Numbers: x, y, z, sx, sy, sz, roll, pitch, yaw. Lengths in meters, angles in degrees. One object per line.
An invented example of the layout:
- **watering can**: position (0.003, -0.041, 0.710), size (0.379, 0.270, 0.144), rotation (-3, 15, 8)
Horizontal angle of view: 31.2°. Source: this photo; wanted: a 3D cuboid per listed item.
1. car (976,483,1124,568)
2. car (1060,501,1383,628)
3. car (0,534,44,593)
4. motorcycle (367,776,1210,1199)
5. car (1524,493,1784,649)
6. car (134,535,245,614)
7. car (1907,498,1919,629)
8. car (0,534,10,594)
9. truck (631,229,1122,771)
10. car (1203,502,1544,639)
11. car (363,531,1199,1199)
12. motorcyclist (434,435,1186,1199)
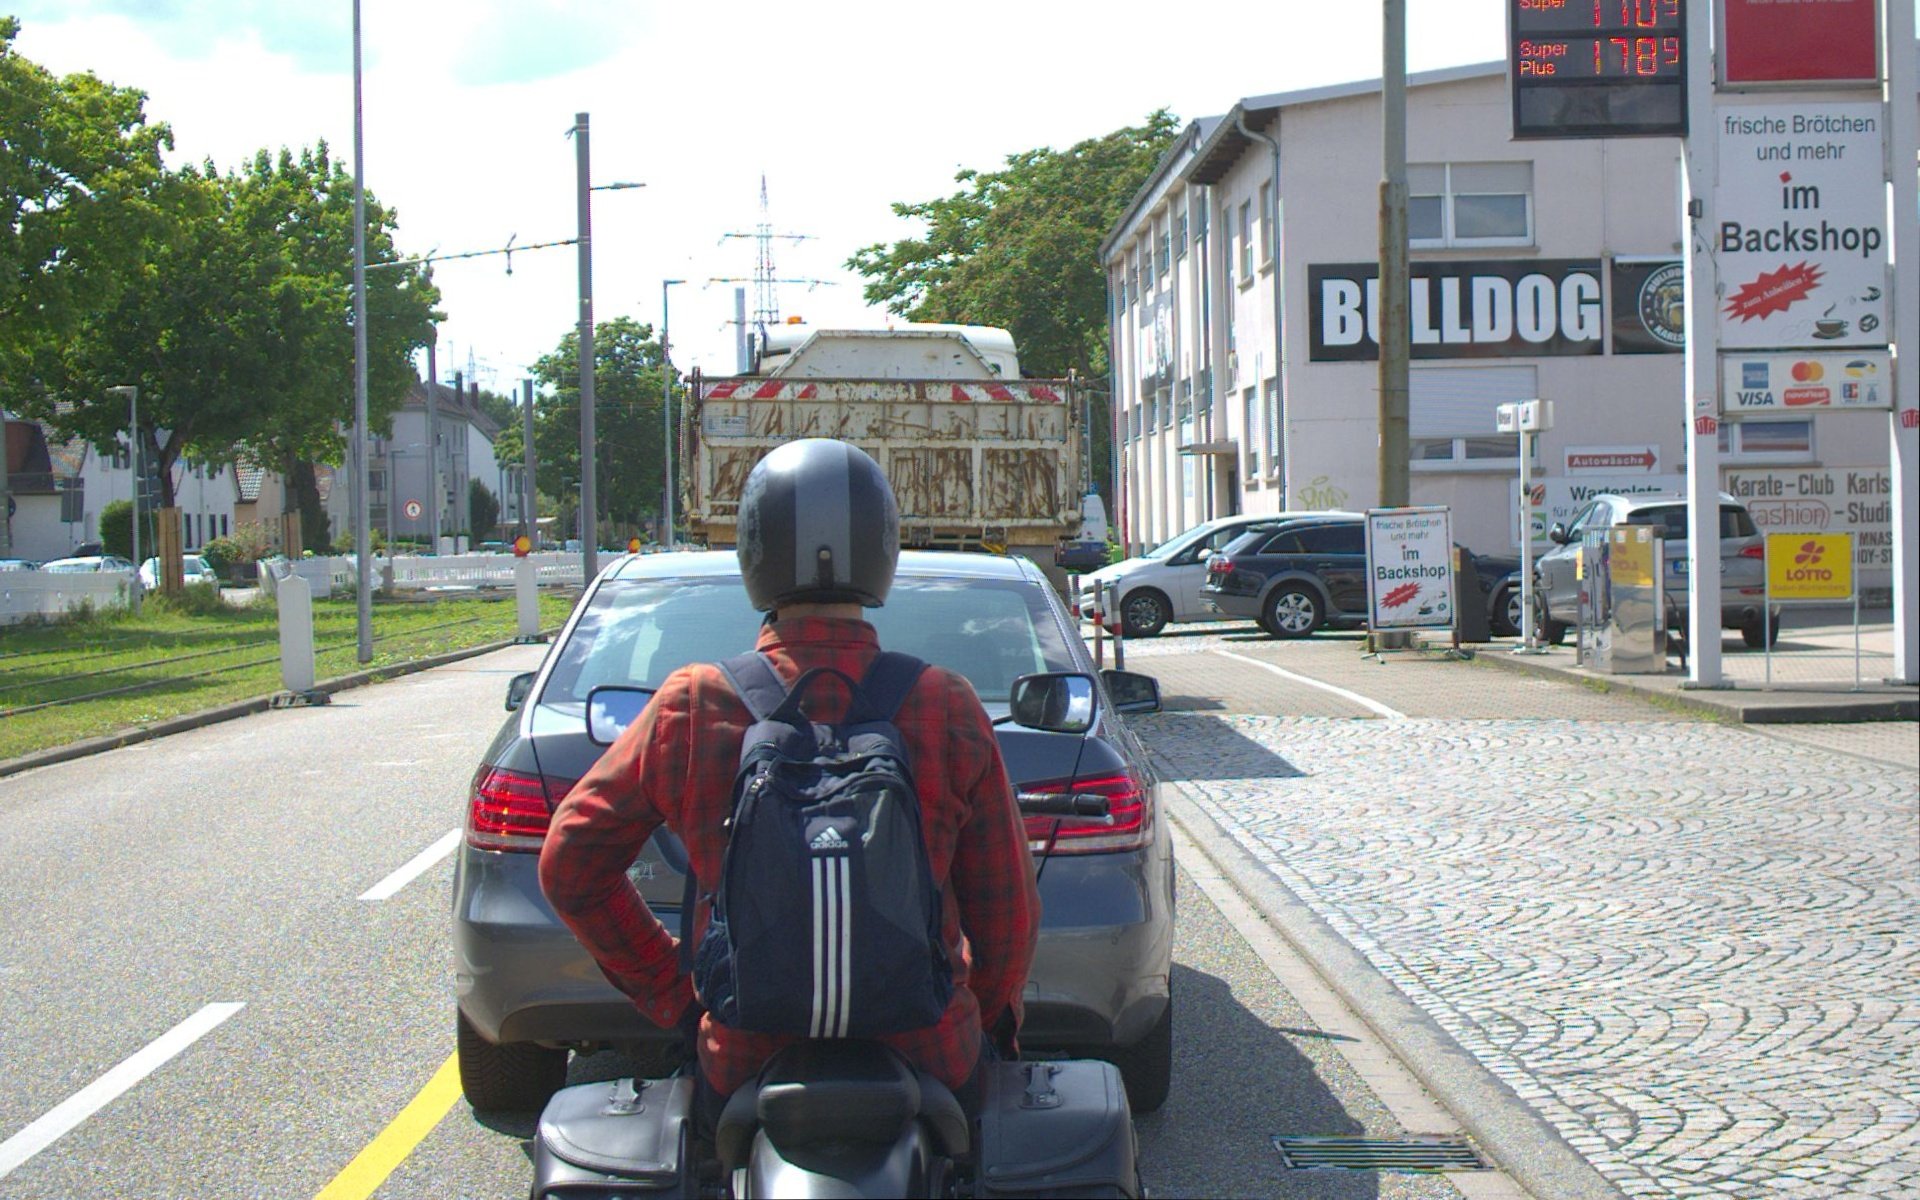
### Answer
- **car**: position (2.802, -2.327, 108.067), size (2.205, 2.555, 5.372), rotation (-2, 1, -29)
- **car**: position (3.552, -0.497, 47.037), size (4.104, 1.619, 1.686), rotation (-1, 1, -8)
- **car**: position (-29.261, -1.105, 104.596), size (1.698, 1.733, 4.062), rotation (-1, 1, 0)
- **motorcycle**: position (-0.216, 0.865, 5.214), size (0.976, 1.010, 2.432), rotation (1, 1, -1)
- **car**: position (7.326, -0.338, 36.651), size (1.832, 1.530, 4.010), rotation (-1, 1, -2)
- **car**: position (-17.859, -0.617, 79.820), size (1.698, 1.733, 3.860), rotation (-1, 1, 0)
- **car**: position (11.790, -0.397, 37.249), size (1.832, 1.474, 4.010), rotation (-1, 1, -2)
- **car**: position (-28.666, -0.994, 98.586), size (1.698, 1.733, 4.062), rotation (-1, 1, 0)
- **truck**: position (-0.634, -0.712, 25.475), size (2.970, 3.293, 8.408), rotation (-1, 1, -2)
- **car**: position (5.227, -0.391, 43.791), size (4.105, 1.619, 1.686), rotation (-1, 1, 0)
- **car**: position (-0.454, 0.571, 9.689), size (1.832, 1.474, 4.010), rotation (-1, 1, -2)
- **motorcyclist**: position (-0.206, 0.590, 5.091), size (0.969, 1.627, 1.215), rotation (1, 1, -1)
